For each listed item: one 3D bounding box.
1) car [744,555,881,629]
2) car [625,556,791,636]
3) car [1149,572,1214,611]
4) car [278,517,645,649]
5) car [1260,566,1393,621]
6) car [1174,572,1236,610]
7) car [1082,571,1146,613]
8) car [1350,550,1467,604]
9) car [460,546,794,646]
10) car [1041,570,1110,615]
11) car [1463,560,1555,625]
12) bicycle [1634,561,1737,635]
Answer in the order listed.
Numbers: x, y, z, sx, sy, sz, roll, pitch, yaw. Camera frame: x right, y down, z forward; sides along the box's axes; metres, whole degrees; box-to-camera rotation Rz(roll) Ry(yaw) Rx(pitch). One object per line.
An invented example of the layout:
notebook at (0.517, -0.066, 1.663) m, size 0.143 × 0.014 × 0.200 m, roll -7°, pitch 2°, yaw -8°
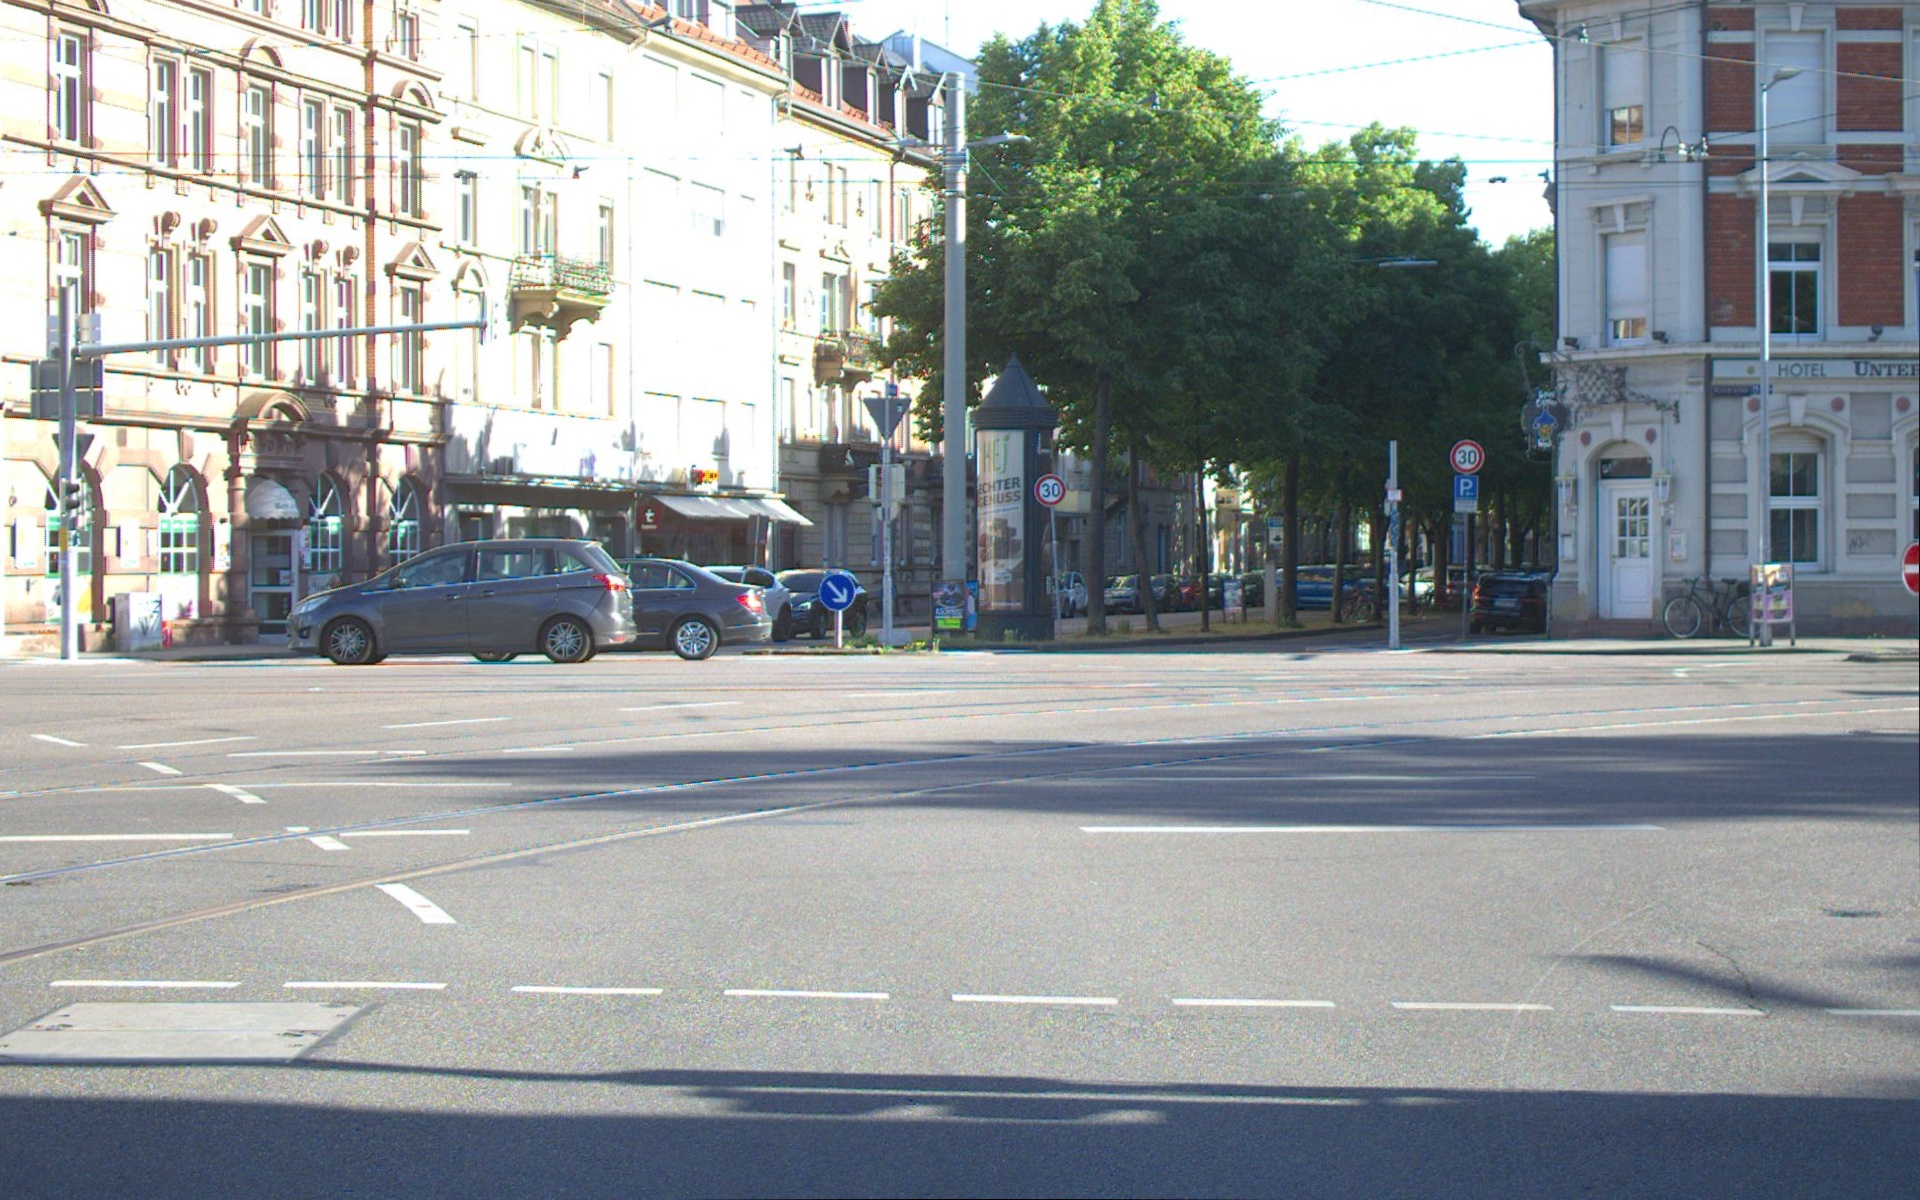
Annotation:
car at (-3.128, -0.195, 73.537) m, size 1.994 × 1.508 × 3.998 m, roll 0°, pitch 1°, yaw 12°
car at (-4.877, -0.107, 67.170) m, size 2.098 × 1.494 × 3.998 m, roll 0°, pitch 1°, yaw 14°
car at (8.507, -0.322, 131.612) m, size 1.742 × 1.393 × 4.121 m, roll 3°, pitch 1°, yaw 13°
car at (-6.445, -0.239, 44.850) m, size 4.510 × 1.666 × 2.000 m, roll 0°, pitch 1°, yaw -1°
car at (12.290, -0.233, 115.231) m, size 4.113 × 1.640 × 1.745 m, roll 3°, pitch 1°, yaw 15°
car at (9.725, -0.357, 136.391) m, size 1.742 × 1.393 × 4.121 m, roll 3°, pitch 1°, yaw 13°
car at (5.507, -0.311, 122.788) m, size 1.741 × 1.393 × 4.122 m, roll 3°, pitch 1°, yaw 9°
car at (17.407, -0.886, 133.429) m, size 4.115 × 1.912 × 1.744 m, roll 3°, pitch 1°, yaw 21°
car at (-4.572, -0.073, 47.763) m, size 4.509 × 1.336 × 2.000 m, roll 0°, pitch 1°, yaw -2°
car at (3.920, -0.263, 115.811) m, size 1.741 × 1.393 × 4.122 m, roll 3°, pitch 1°, yaw 9°
car at (13.168, -0.162, 82.291) m, size 1.652 × 1.519 × 3.750 m, roll 0°, pitch 0°, yaw 17°
bicycle at (12.063, -0.038, 57.139) m, size 1.639 × 1.218 × 0.606 m, roll 0°, pitch 1°, yaw 16°
